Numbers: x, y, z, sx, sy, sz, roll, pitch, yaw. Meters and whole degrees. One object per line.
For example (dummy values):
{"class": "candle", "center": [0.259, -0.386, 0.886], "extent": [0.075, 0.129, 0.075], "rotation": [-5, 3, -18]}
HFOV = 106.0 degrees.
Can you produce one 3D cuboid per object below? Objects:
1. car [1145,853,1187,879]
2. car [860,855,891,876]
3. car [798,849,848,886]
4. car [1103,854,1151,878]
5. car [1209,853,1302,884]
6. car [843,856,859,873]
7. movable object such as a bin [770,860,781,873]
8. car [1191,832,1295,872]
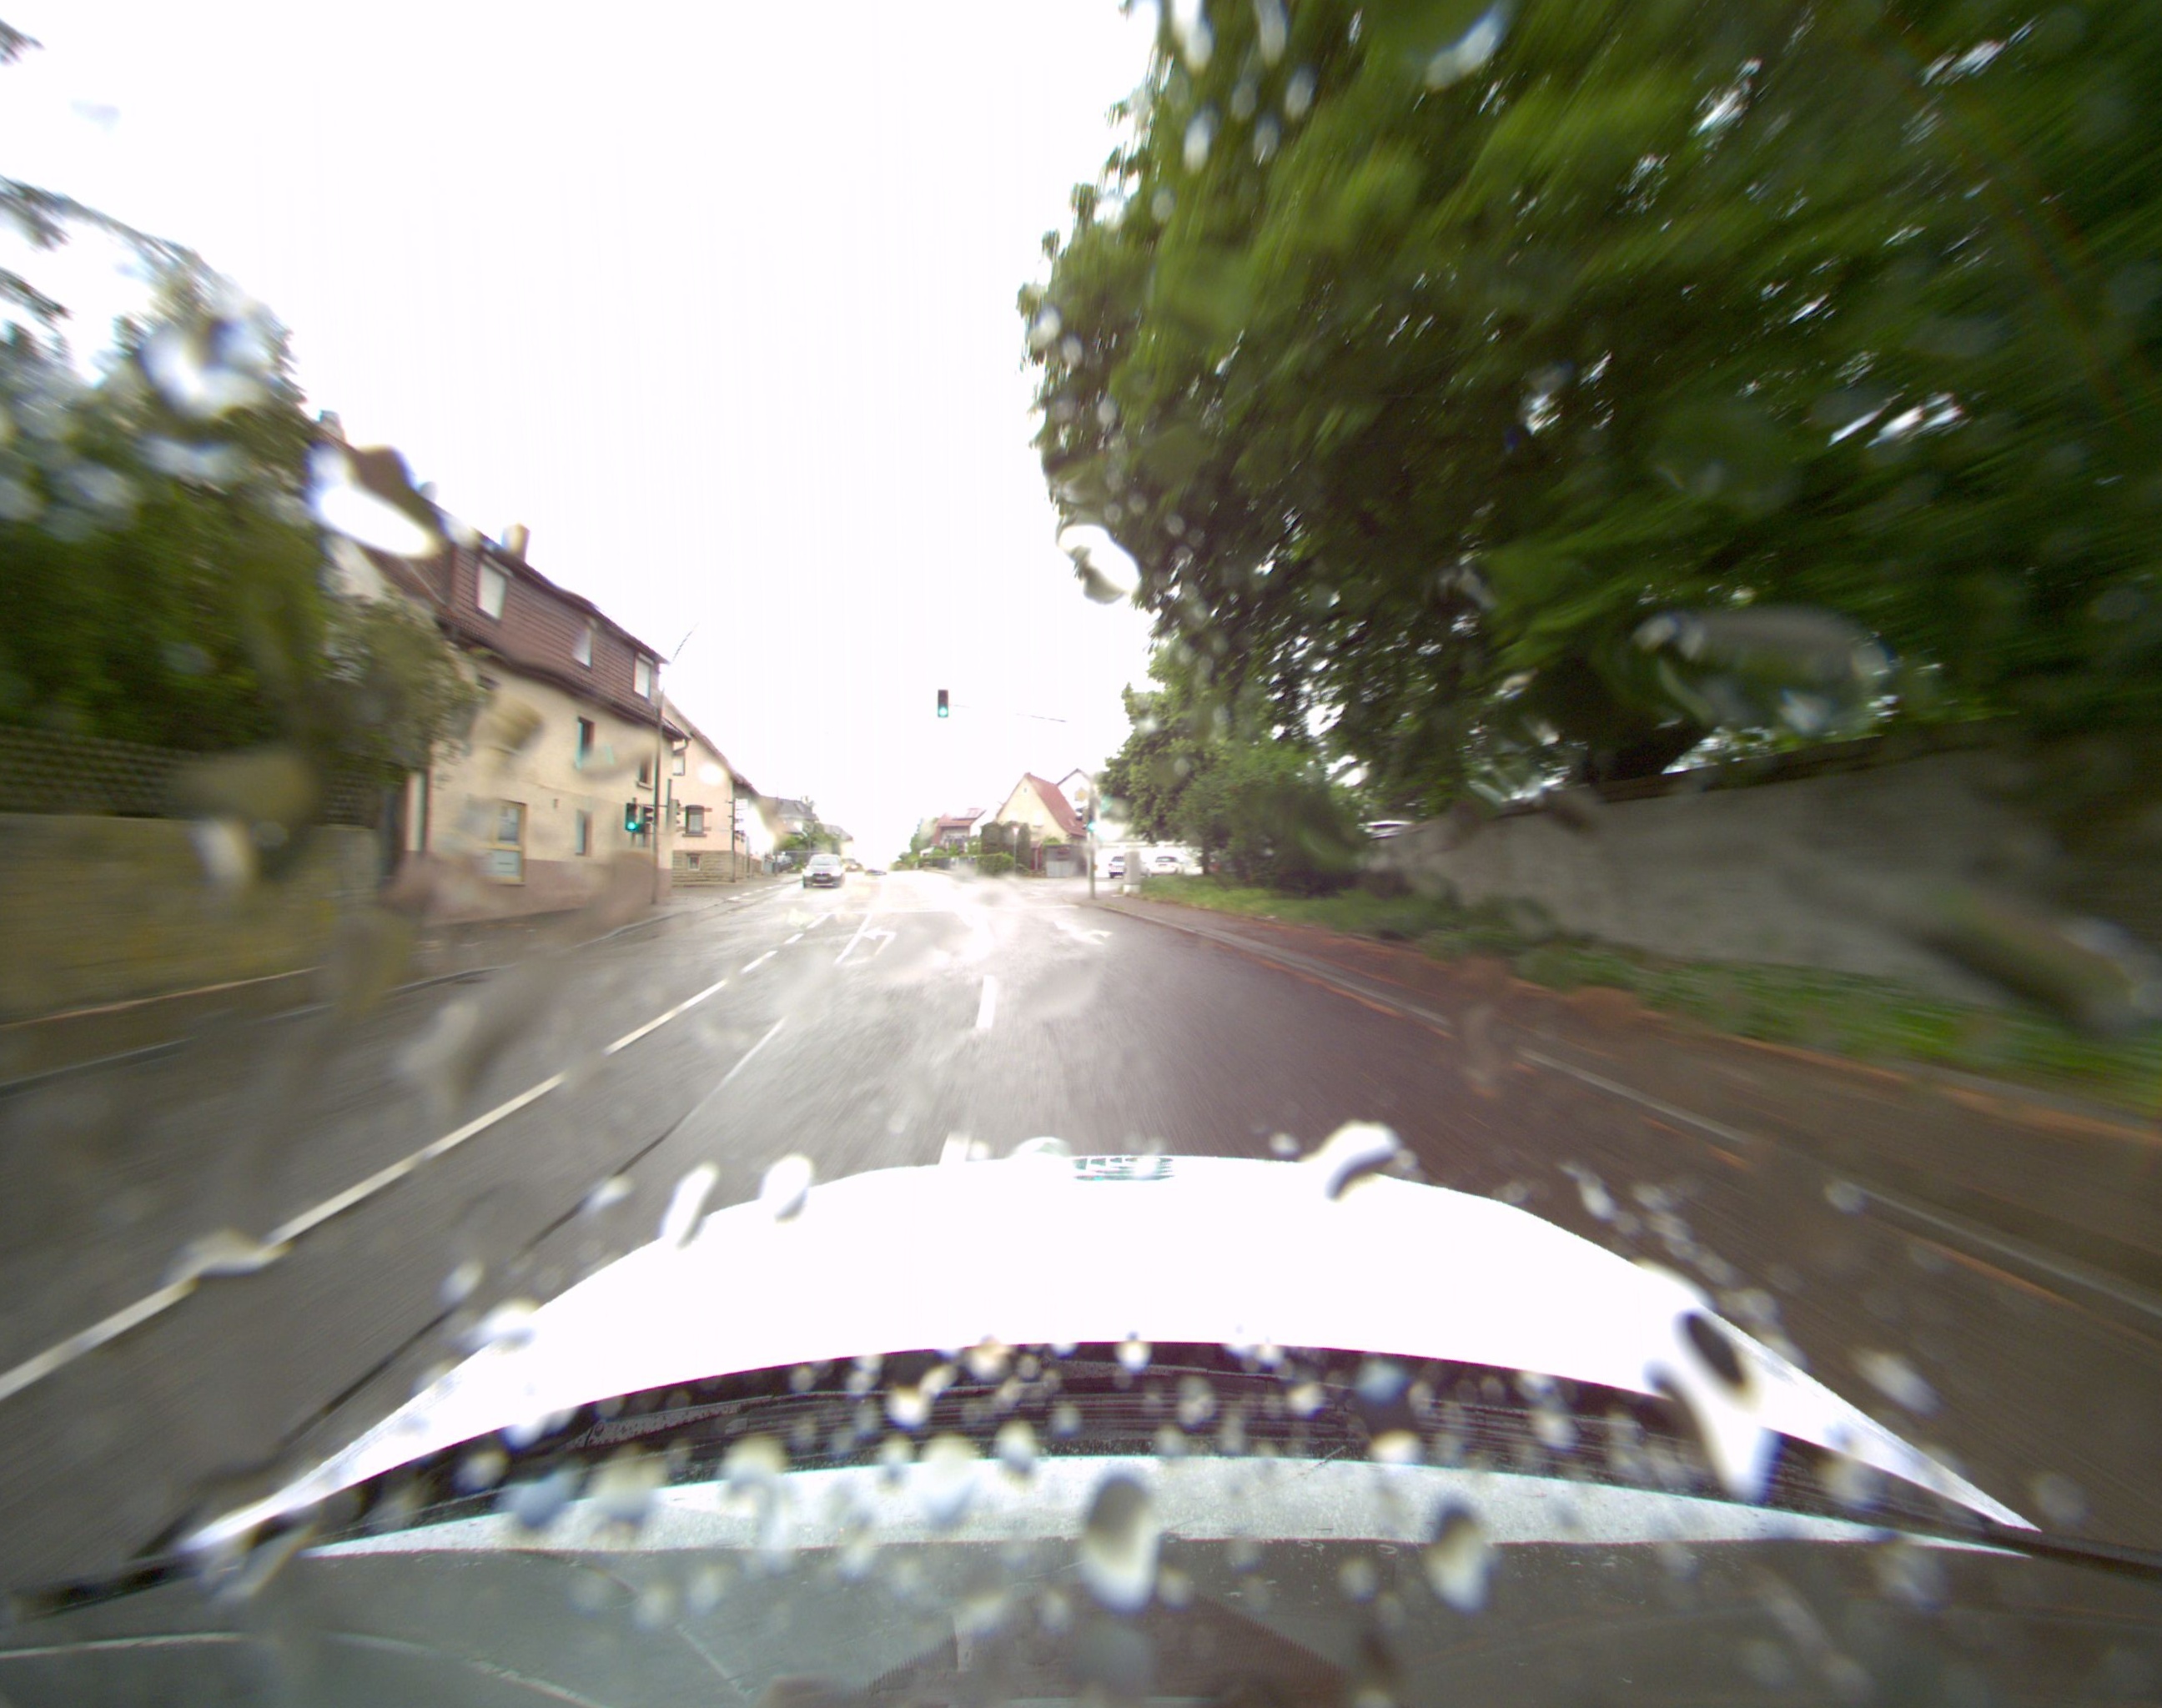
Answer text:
{"class": "car", "center": [5.499, 0.733, 52.488], "extent": [1.978, 1.530, 4.017], "rotation": [-2, 0, 16]}
{"class": "car", "center": [-16.623, 0.912, 65.856], "extent": [1.951, 1.574, 4.197], "rotation": [-1, 0, -21]}
{"class": "car", "center": [-12.587, 0.640, 39.987], "extent": [1.996, 1.706, 3.982], "rotation": [-1, 0, -13]}
{"class": "car", "center": [3.061, 0.732, 53.171], "extent": [1.977, 1.398, 4.172], "rotation": [-2, 0, 20]}
{"class": "car", "center": [8.448, 0.686, 39.660], "extent": [4.162, 1.442, 1.833], "rotation": [0, 0, 0]}
{"class": "car", "center": [-38.457, 1.858, 136.258], "extent": [2.096, 2.649, 5.892], "rotation": [1, -2, -12]}
{"class": "movable object such as a bin", "center": [-25.051, 1.017, 66.756], "extent": [0.636, 1.032, 0.673], "rotation": [-2, -1, -2]}
{"class": "car", "center": [6.442, -0.075, 32.773], "extent": [3.964, 1.455, 1.859], "rotation": [-2, 0, 8]}
